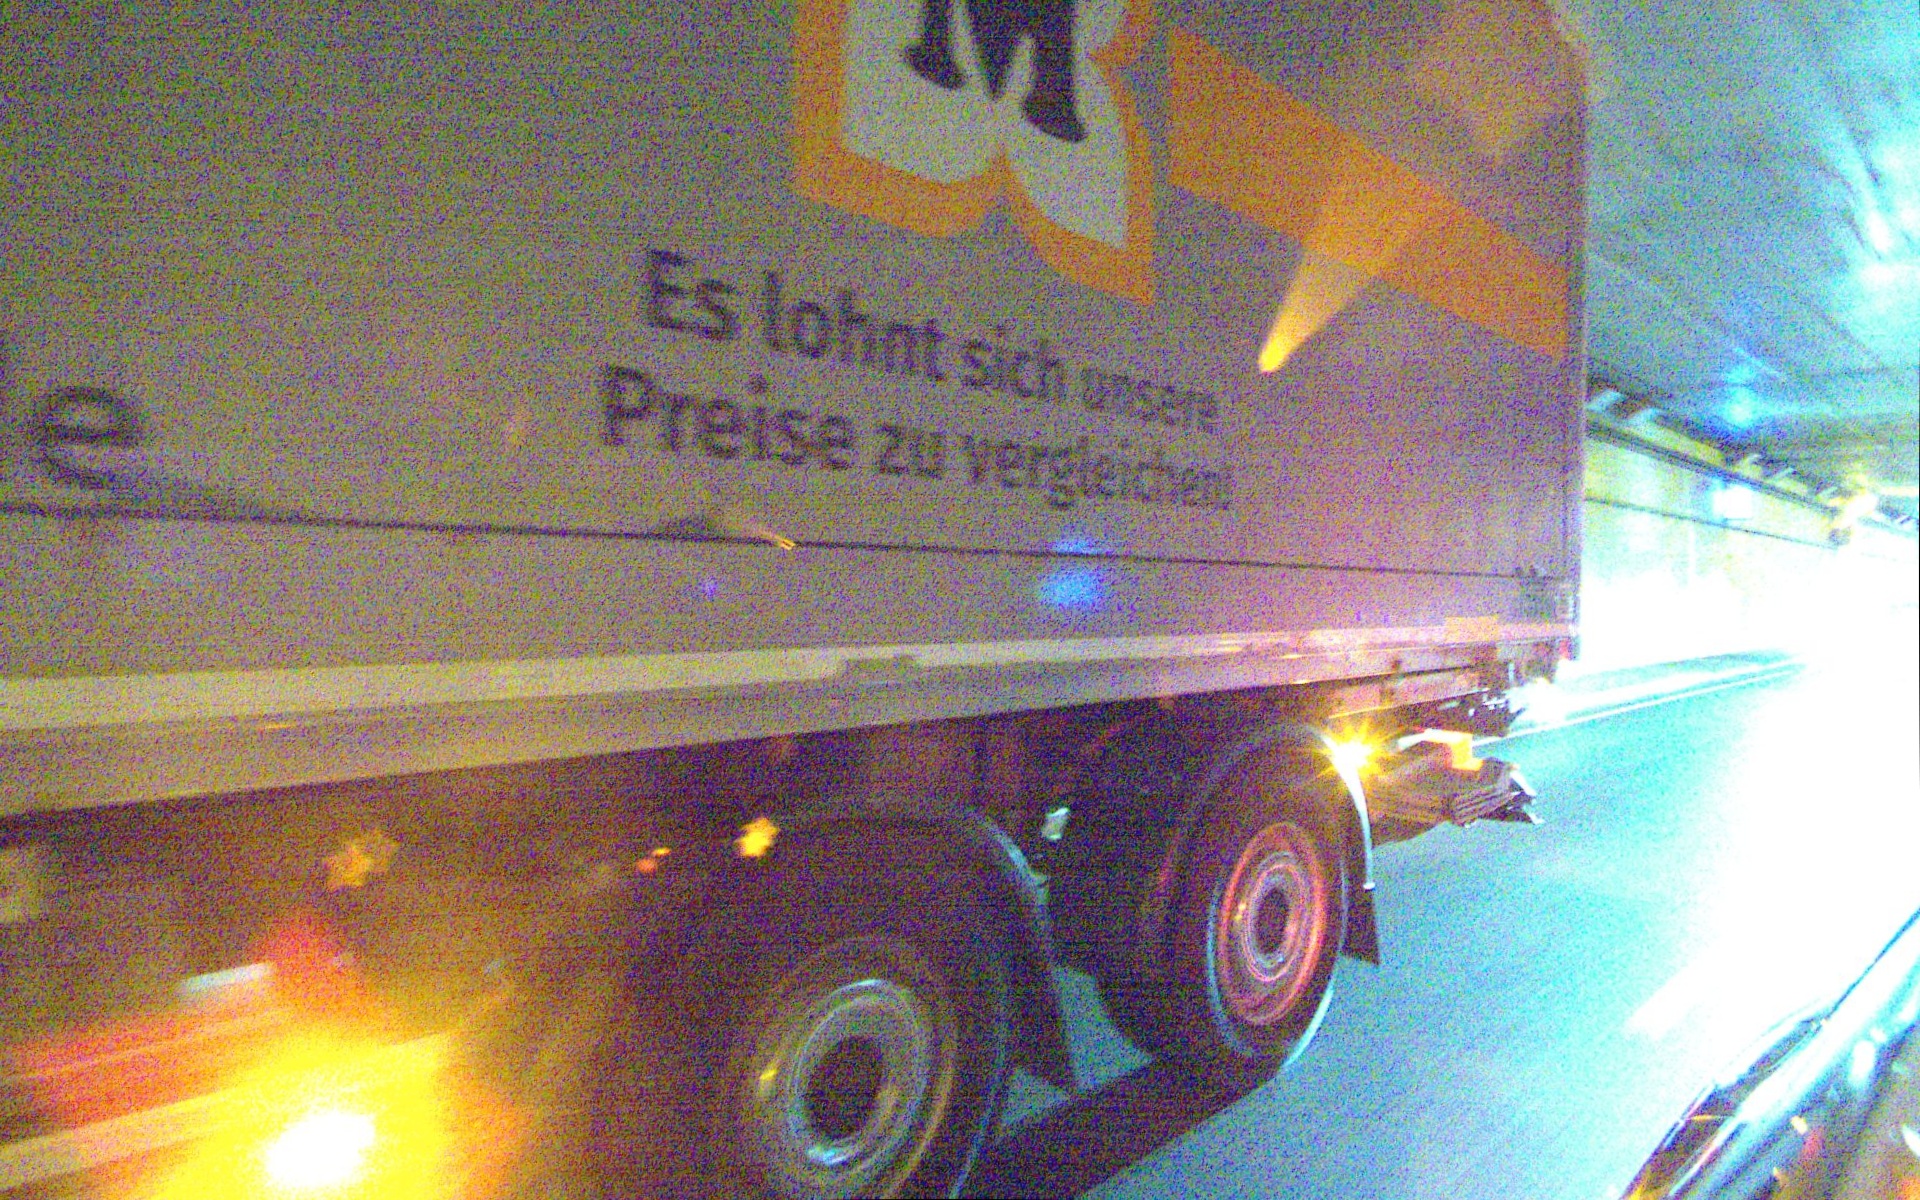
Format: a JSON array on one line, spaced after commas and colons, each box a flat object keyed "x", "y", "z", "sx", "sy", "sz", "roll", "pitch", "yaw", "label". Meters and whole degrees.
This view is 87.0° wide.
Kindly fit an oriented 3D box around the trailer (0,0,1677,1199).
[{"x": -1.010, "y": -0.609, "z": 2.870, "sx": 8.790, "sy": 3.906, "sz": 2.881, "roll": 0, "pitch": 1, "yaw": -41, "label": "trailer"}]

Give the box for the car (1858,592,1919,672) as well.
[{"x": 18.773, "y": 0.567, "z": 19.499, "sx": 3.733, "sy": 1.420, "sz": 1.733, "roll": -1, "pitch": 1, "yaw": -41, "label": "car"}]
